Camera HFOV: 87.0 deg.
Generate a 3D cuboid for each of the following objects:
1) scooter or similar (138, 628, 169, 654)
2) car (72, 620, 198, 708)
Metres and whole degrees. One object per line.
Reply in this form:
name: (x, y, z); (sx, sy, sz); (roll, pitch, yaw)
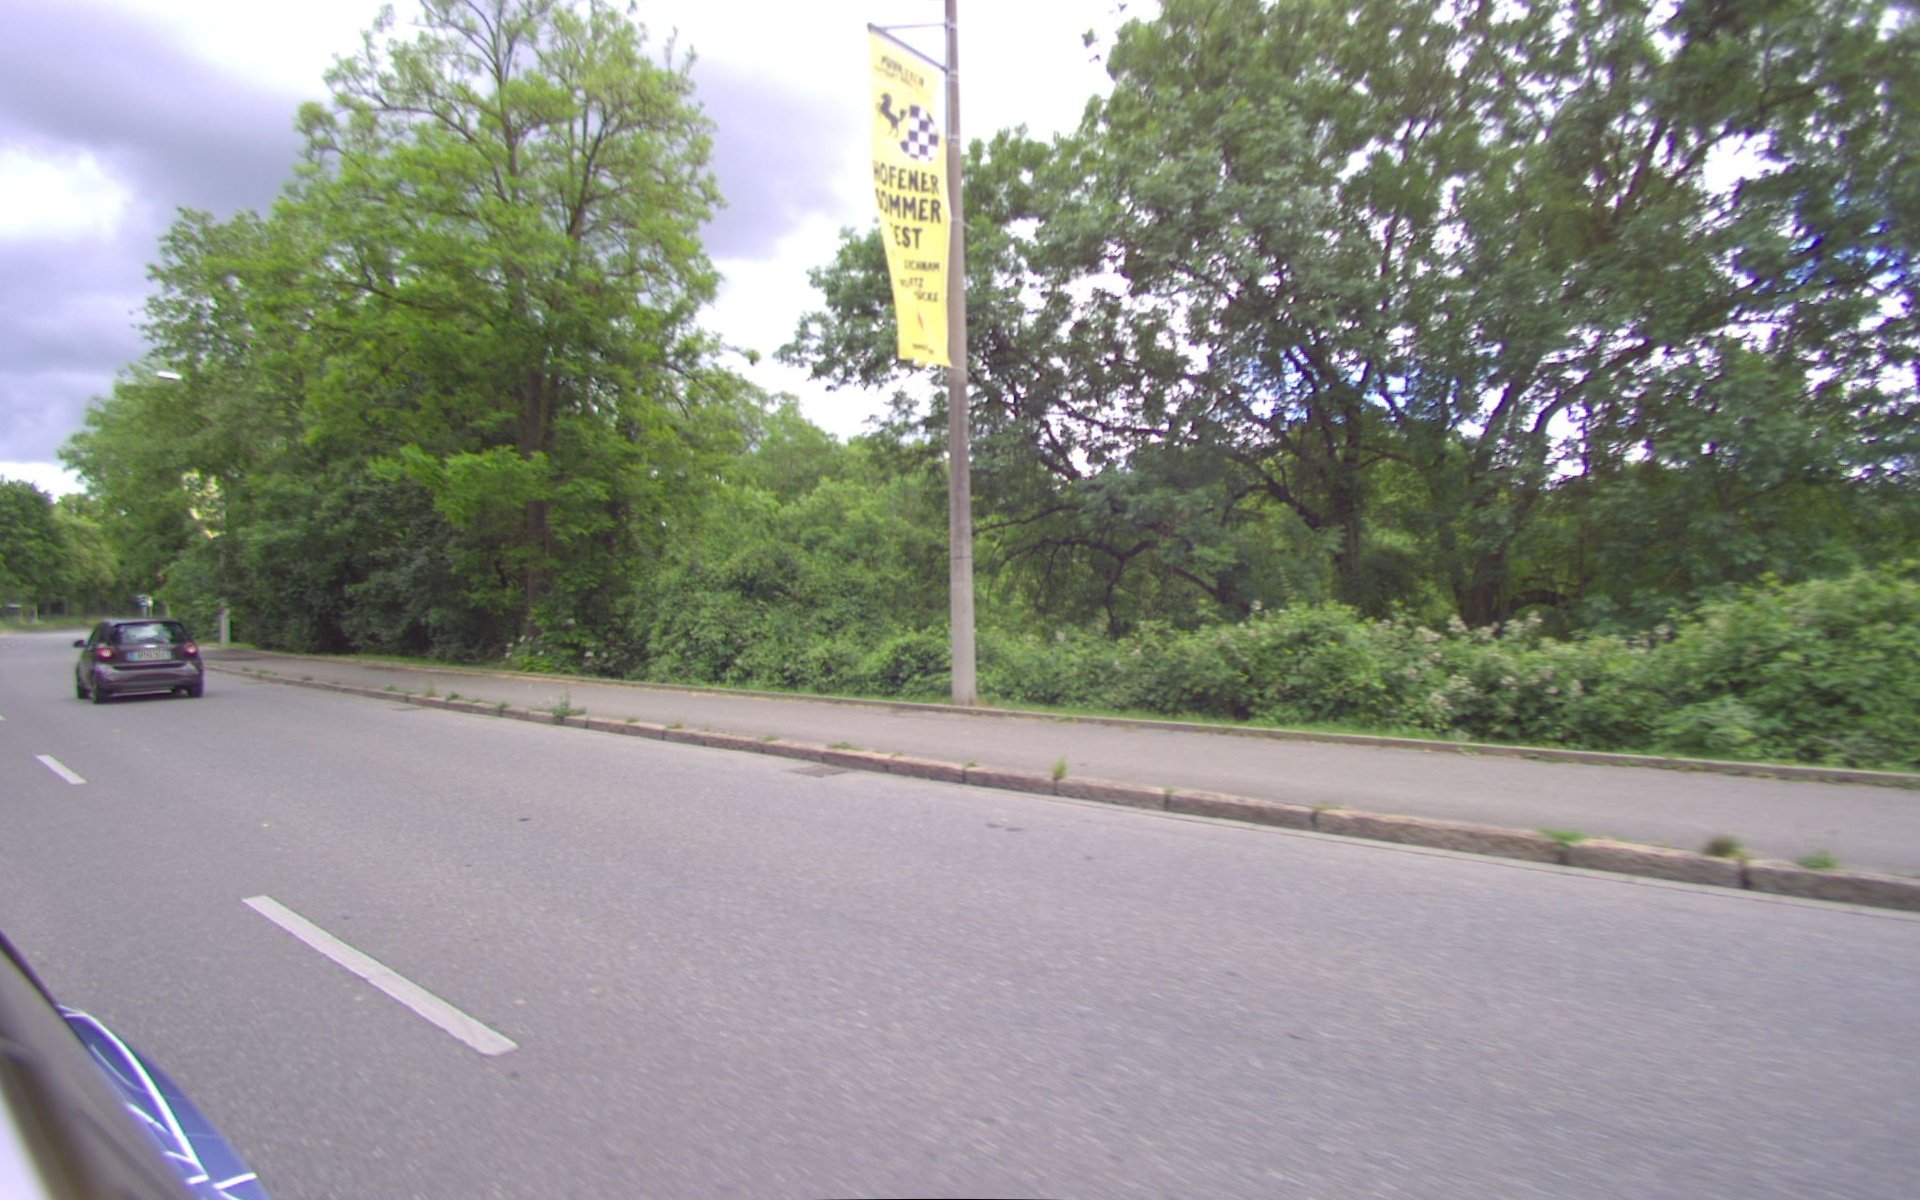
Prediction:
scooter or similar: (-39.067, 1.964, 49.023); (1.282, 1.193, 0.365); (-2, 1, 8)
car: (-15.852, 1.156, 19.404); (1.577, 1.517, 3.030); (0, -1, -45)
